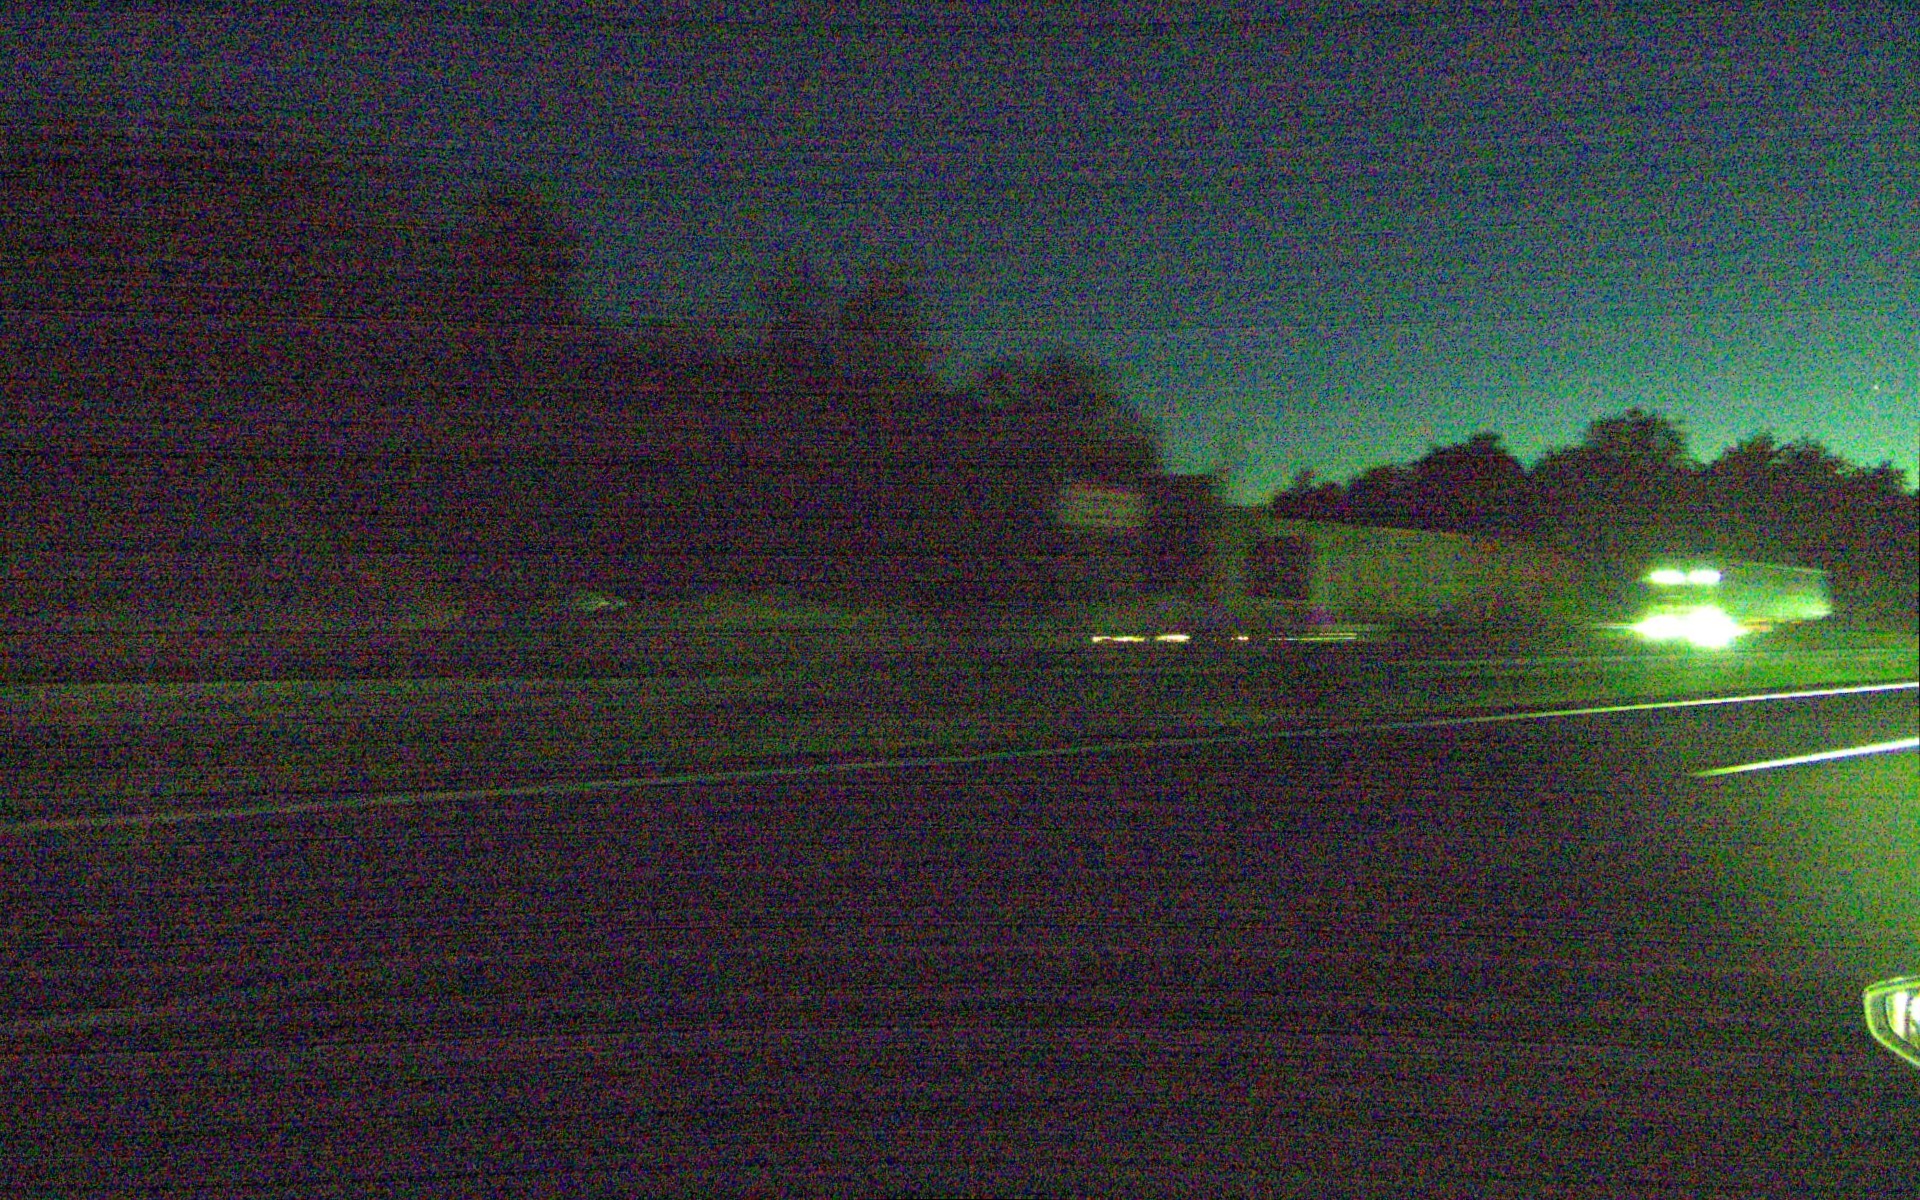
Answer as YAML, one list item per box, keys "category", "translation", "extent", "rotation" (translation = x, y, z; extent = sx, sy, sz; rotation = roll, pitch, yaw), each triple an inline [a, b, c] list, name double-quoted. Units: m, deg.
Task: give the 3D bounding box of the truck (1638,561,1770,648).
- category: "truck"
  translation: [37.970, 0.263, 51.251]
  extent: [5.929, 4.154, 3.570]
  rotation: [1, -1, -33]

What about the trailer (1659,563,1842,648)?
- category: "trailer"
  translation: [43.317, 0.387, 54.784]
  extent: [13.972, 4.144, 3.578]
  rotation: [1, -1, -33]

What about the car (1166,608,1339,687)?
- category: "car"
  translation: [6.756, 1.080, 23.096]
  extent: [3.955, 1.619, 1.527]
  rotation: [2, 1, -31]
